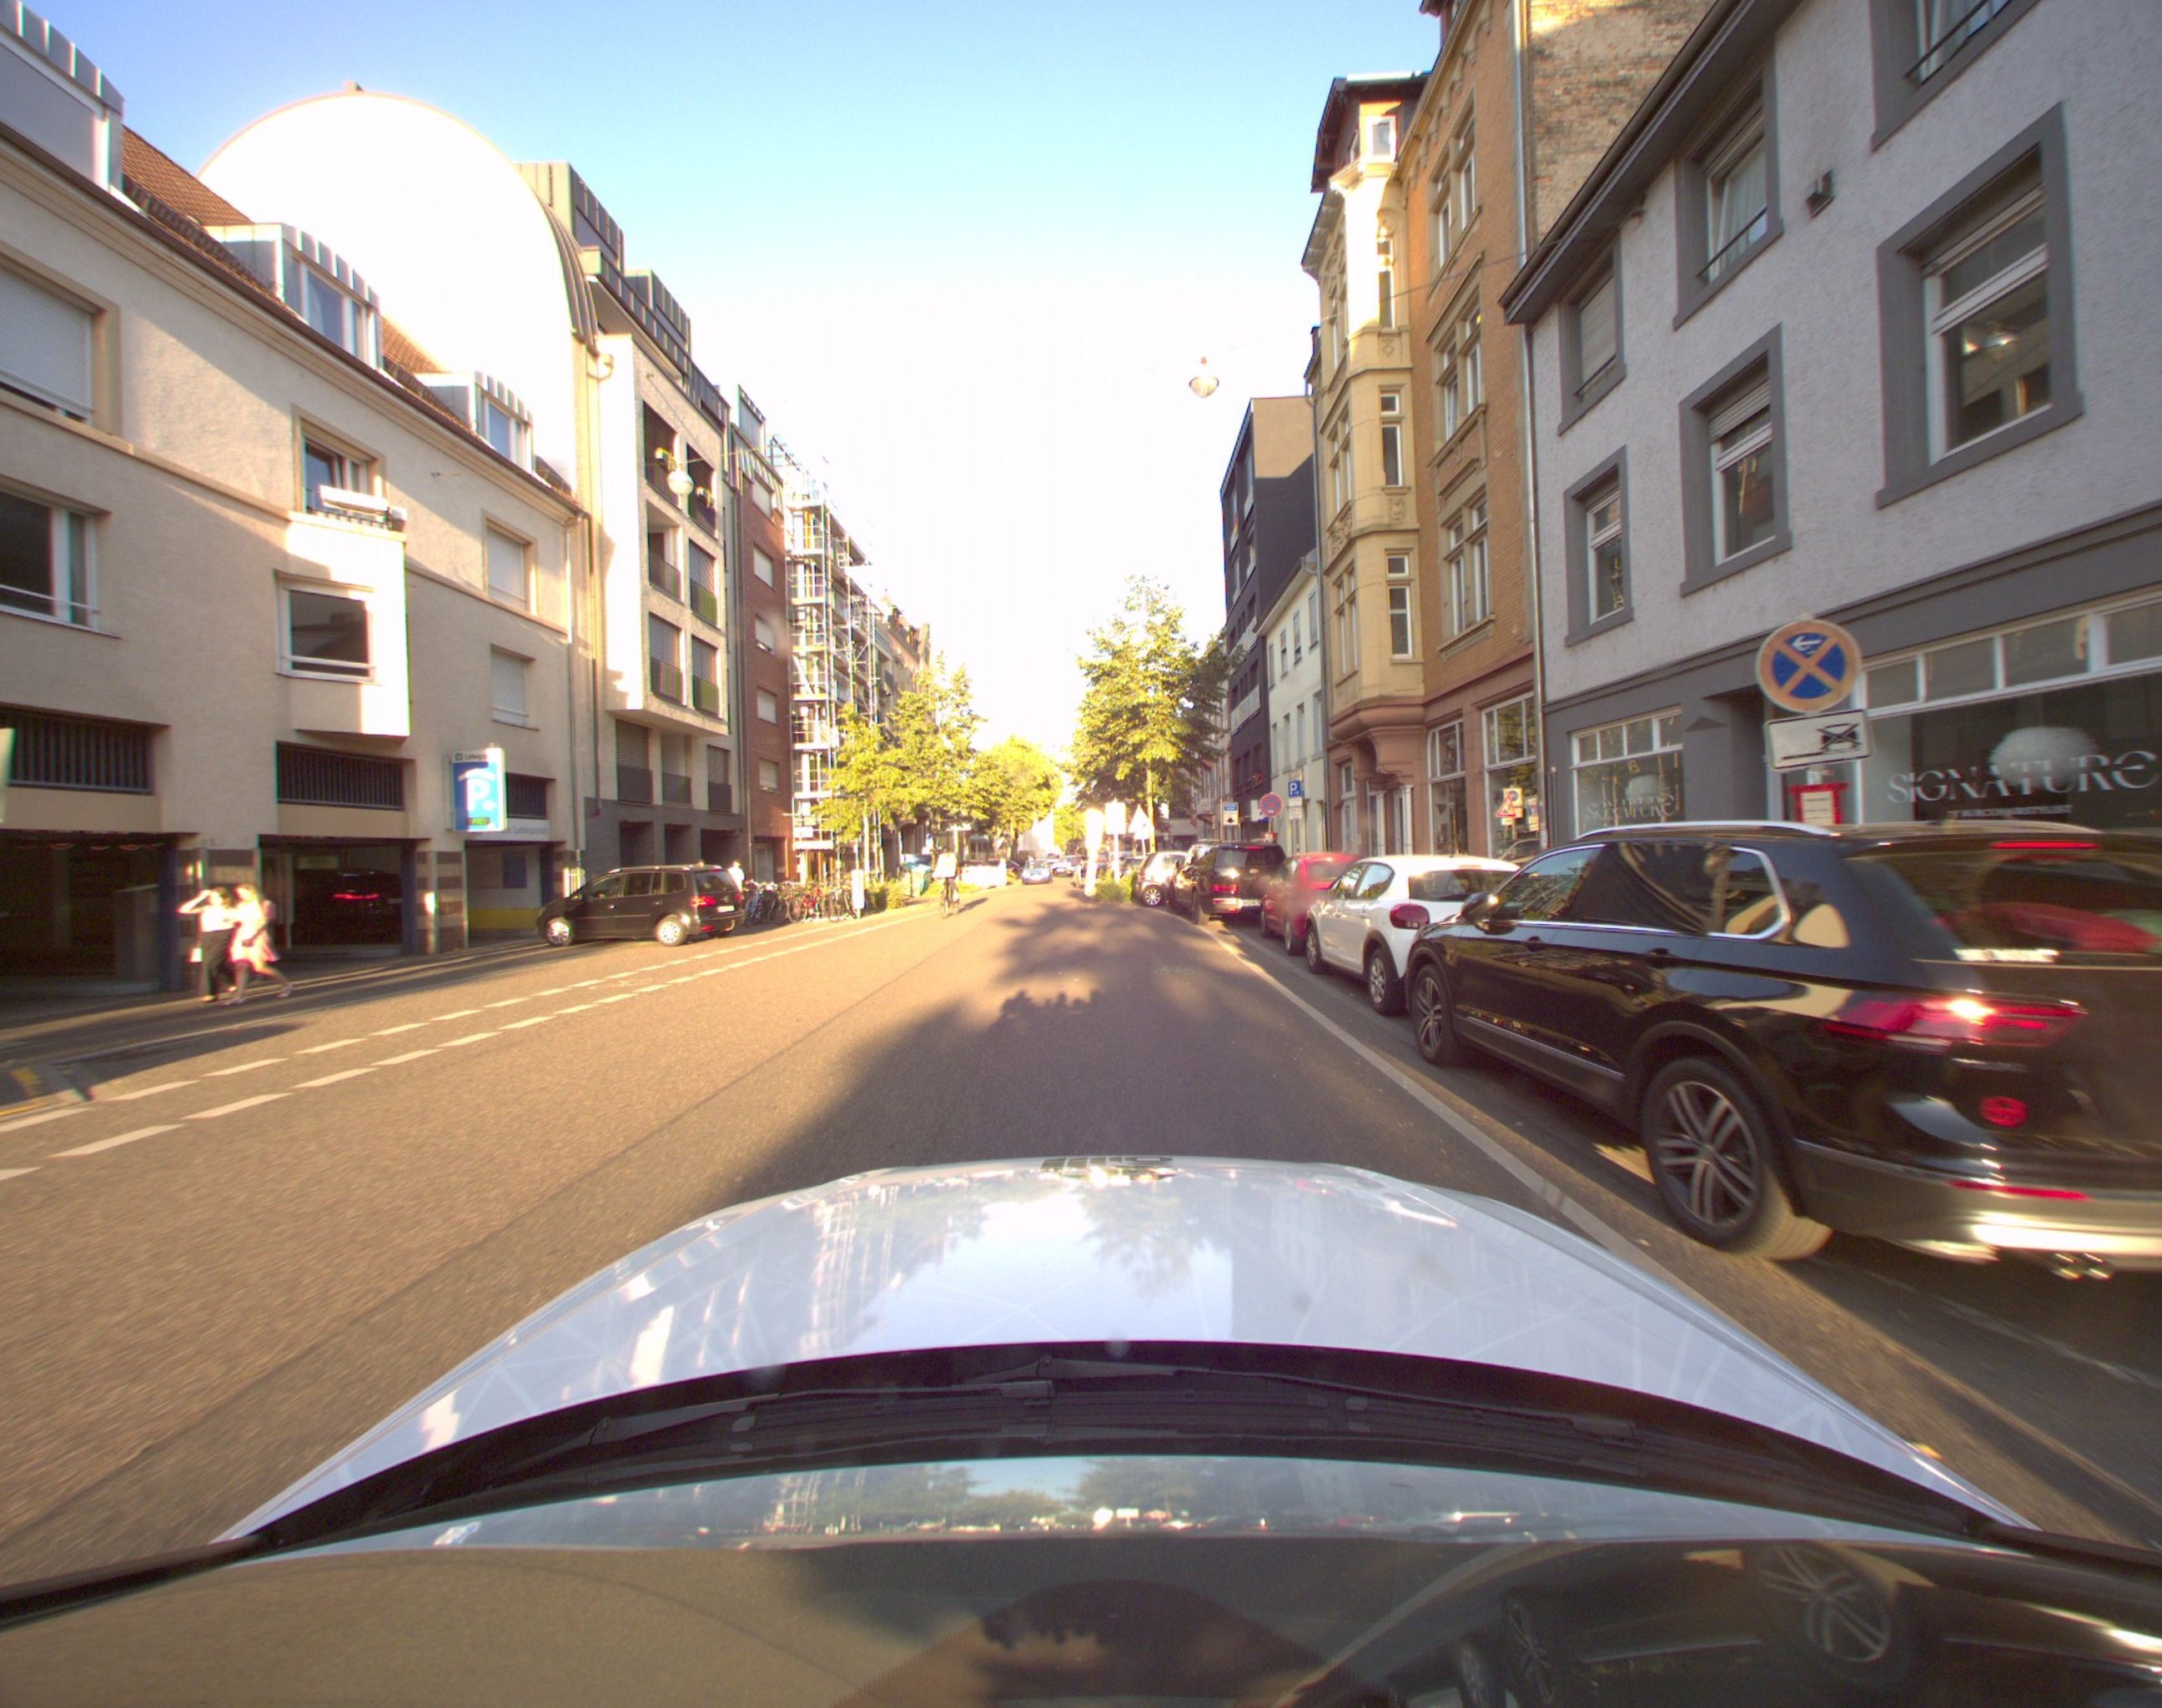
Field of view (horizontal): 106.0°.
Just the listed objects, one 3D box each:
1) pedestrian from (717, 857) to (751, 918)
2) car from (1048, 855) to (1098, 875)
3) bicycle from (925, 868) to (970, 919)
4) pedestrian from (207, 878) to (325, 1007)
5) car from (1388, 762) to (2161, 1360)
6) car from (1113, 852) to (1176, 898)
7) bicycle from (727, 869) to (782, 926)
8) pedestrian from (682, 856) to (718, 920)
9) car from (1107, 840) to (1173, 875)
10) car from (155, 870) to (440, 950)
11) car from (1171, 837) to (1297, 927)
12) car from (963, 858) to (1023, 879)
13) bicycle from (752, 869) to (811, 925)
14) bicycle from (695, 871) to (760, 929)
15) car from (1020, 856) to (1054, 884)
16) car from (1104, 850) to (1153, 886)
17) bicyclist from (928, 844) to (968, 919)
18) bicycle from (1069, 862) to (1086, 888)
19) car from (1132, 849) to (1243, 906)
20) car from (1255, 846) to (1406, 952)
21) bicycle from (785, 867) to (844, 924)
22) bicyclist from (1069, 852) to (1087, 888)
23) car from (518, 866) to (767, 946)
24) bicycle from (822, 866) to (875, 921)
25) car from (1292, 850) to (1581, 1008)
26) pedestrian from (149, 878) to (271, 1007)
[{"bbox_3d":[-10.061,0.953,23.638,0.716,1.740,0.737,-1,-1,-7],"label":"pedestrian"},{"bbox_3d":[-0.563,0.820,62.641,1.867,1.480,4.486,-1,-1,28],"label":"car"},{"bbox_3d":[-3.392,0.981,20.875,0.778,1.204,2.020,-3,0,-1],"label":"bicycle"},{"bbox_3d":[-10.965,1.156,10.983,0.713,1.641,0.856,-1,-1,6],"label":"pedestrian"},{"bbox_3d":[3.287,0.587,4.376,1.805,1.668,4.207,-1,0,2],"label":"car"},{"bbox_3d":[2.433,0.793,32.280,1.988,1.668,4.506,-1,0,-2],"label":"car"},{"bbox_3d":[-8.761,1.125,21.977,0.584,1.395,3.153,-1,0,-7],"label":"bicycle"},{"bbox_3d":[-10.714,0.932,22.935,0.716,1.767,0.692,-1,-1,-7],"label":"pedestrian"},{"bbox_3d":[3.733,0.236,51.082,3.967,2.013,2.003,-2,0,5],"label":"car"},{"bbox_3d":[-17.114,1.183,17.939,4.474,1.601,2.002,-1,-1,4],"label":"car"},{"bbox_3d":[3.177,0.554,17.822,1.820,1.695,4.366,-1,0,-2],"label":"car"},{"bbox_3d":[-6.410,1.071,59.656,4.086,1.466,1.891,-1,-1,2],"label":"car"},{"bbox_3d":[-8.068,1.103,22.087,0.780,1.373,3.134,-1,0,-7],"label":"bicycle"},{"bbox_3d":[-9.431,1.174,21.879,0.720,1.395,3.145,-1,0,-7],"label":"bicycle"},{"bbox_3d":[-2.545,0.910,47.716,1.834,1.441,4.327,-2,0,-3],"label":"car"},{"bbox_3d":[2.572,0.758,45.596,2.259,1.766,4.506,4,-1,-2],"label":"car"},{"bbox_3d":[-3.400,0.684,20.863,0.778,1.829,1.007,-3,-1,-1],"label":"bicyclist"},{"bbox_3d":[-0.178,1.027,39.767,0.778,1.204,2.020,-3,0,-1],"label":"bicycle"},{"bbox_3d":[3.009,0.654,23.410,2.961,1.536,1.432,-1,-1,-3],"label":"car"},{"bbox_3d":[3.855,0.649,13.097,1.580,1.483,3.269,-1,0,3],"label":"car"},{"bbox_3d":[-7.218,1.078,22.213,0.892,1.395,3.158,-2,0,-7],"label":"bicycle"},{"bbox_3d":[-0.146,0.751,39.659,0.778,1.696,1.007,-3,-1,-1],"label":"bicyclist"},{"bbox_3d":[-9.487,1.092,17.779,4.466,1.601,2.006,-1,-1,10],"label":"car"},{"bbox_3d":[-6.329,1.025,22.337,0.843,1.350,3.179,-2,0,-7],"label":"bicycle"},{"bbox_3d":[3.620,0.676,9.073,1.660,1.378,3.804,-1,0,2],"label":"car"},{"bbox_3d":[-11.734,1.162,11.004,0.713,1.641,0.856,-1,-1,6],"label":"pedestrian"}]
